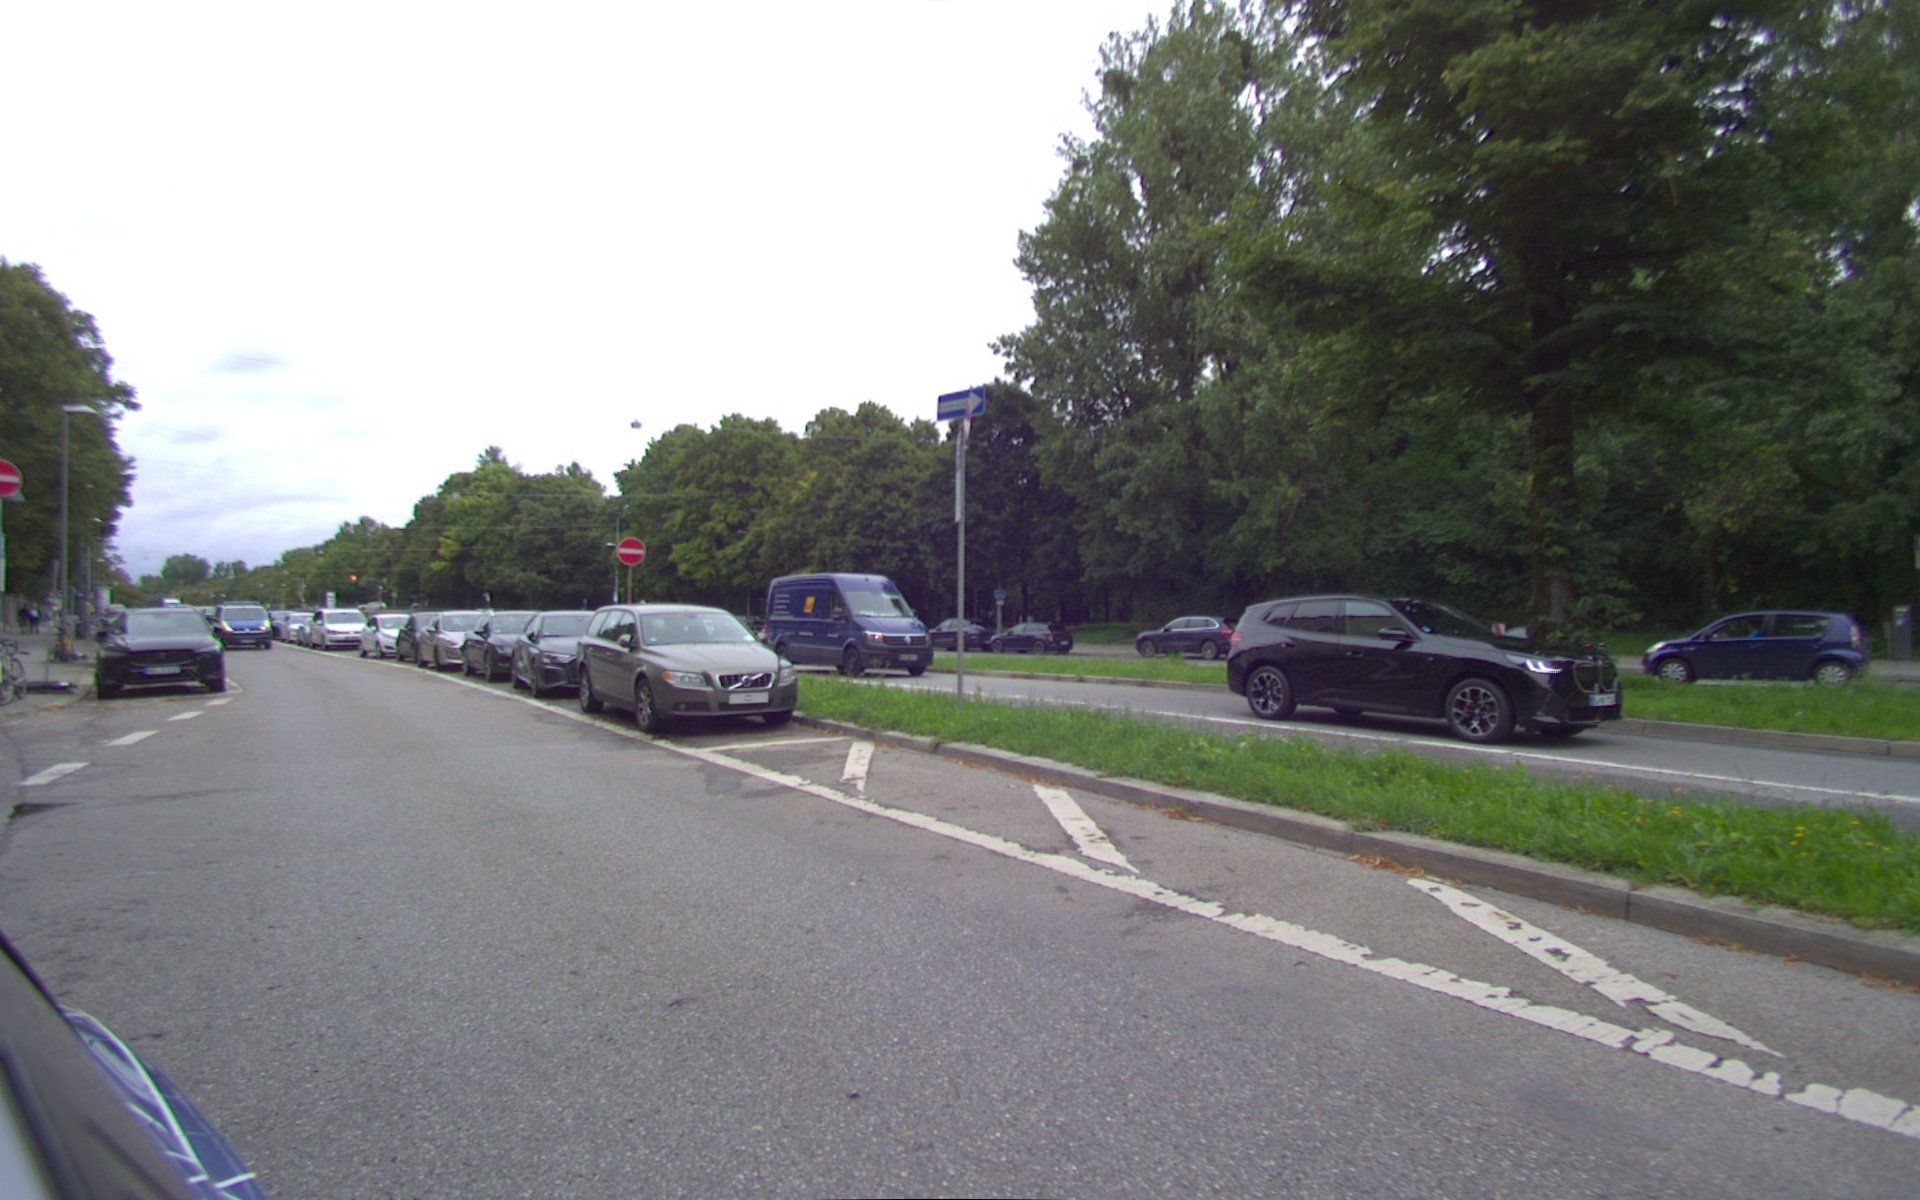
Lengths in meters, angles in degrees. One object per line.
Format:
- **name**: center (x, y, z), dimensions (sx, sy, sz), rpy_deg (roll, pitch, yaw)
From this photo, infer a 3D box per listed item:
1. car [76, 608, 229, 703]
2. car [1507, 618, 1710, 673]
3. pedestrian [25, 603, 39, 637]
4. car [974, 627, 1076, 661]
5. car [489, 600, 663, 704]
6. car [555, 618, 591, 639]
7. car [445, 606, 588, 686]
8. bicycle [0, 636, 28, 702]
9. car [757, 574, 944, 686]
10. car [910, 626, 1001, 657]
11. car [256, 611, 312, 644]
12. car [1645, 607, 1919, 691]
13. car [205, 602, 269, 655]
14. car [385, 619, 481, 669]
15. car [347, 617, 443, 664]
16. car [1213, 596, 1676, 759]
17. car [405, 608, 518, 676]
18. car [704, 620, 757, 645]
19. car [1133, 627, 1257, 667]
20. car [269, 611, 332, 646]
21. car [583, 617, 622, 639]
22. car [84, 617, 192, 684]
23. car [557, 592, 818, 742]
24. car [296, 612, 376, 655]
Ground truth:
- **car**: center (-15.698, 1.002, 19.786), dimensions (2.097, 1.577, 4.516), rpy_deg (-1, 0, -38)
- **car**: center (18.477, 1.256, 28.986), dimensions (1.969, 1.457, 4.530), rpy_deg (2, -2, -42)
- **pedestrian**: center (-56.172, 1.226, 61.248), dimensions (0.617, 2.029, 0.453), rpy_deg (-2, -2, 33)
- **car**: center (2.903, 1.942, 45.938), dimensions (1.969, 1.457, 4.530), rpy_deg (2, -2, -42)
- **car**: center (-6.825, 0.828, 17.695), dimensions (1.960, 1.577, 4.294), rpy_deg (0, -1, -33)
- **car**: center (-34.390, 2.503, 89.792), dimensions (1.838, 1.759, 4.007), rpy_deg (0, -1, -39)
- **car**: center (-9.808, 0.942, 22.178), dimensions (1.961, 1.577, 4.292), rpy_deg (0, -1, -37)
- **bicycle**: center (-16.122, 1.131, 16.827), dimensions (0.622, 1.045, 1.740), rpy_deg (1, -2, -33)
- **car**: center (-2.927, 0.670, 25.611), dimensions (2.154, 2.482, 5.866), rpy_deg (0, 0, -35)
- **car**: center (-0.253, 2.006, 49.756), dimensions (1.969, 1.457, 4.530), rpy_deg (2, -2, -42)
- **car**: center (-36.684, 1.480, 54.868), dimensions (1.922, 1.698, 4.005), rpy_deg (1, -2, -42)
- **car**: center (15.886, 0.911, 19.716), dimensions (4.030, 1.457, 1.872), rpy_deg (-2, -2, 40)
- **car**: center (-31.914, 1.198, 44.602), dimensions (1.829, 2.227, 4.559), rpy_deg (0, 0, -42)
- **car**: center (-15.991, 1.284, 30.608), dimensions (1.740, 1.380, 4.290), rpy_deg (0, -1, -39)
- **car**: center (-19.280, 1.337, 34.457), dimensions (1.963, 1.467, 4.288), rpy_deg (0, -1, -42)
- **car**: center (5.617, 0.797, 12.448), dimensions (1.887, 1.598, 4.843), rpy_deg (0, -1, -33)
- **car**: center (-12.826, 1.009, 25.901), dimensions (1.961, 1.577, 4.293), rpy_deg (0, -1, -35)
- **car**: center (-15.323, 2.126, 67.452), dimensions (1.882, 1.569, 4.007), rpy_deg (0, 0, -40)
- **car**: center (9.077, 1.777, 39.308), dimensions (1.970, 1.457, 4.322), rpy_deg (2, -2, -43)
- **car**: center (-33.561, 1.430, 51.455), dimensions (2.044, 1.715, 4.565), rpy_deg (0, -1, -42)
- **car**: center (-29.829, 2.312, 84.373), dimensions (1.856, 1.759, 4.007), rpy_deg (0, -1, -39)
- **car**: center (-22.255, 1.290, 27.403), dimensions (2.097, 1.577, 4.515), rpy_deg (-1, 0, -40)
- **car**: center (-3.730, 0.745, 13.141), dimensions (1.873, 1.577, 4.783), rpy_deg (0, -1, -33)
- **car**: center (-26.641, 1.402, 43.113), dimensions (2.044, 1.715, 5.097), rpy_deg (0, -1, -42)
